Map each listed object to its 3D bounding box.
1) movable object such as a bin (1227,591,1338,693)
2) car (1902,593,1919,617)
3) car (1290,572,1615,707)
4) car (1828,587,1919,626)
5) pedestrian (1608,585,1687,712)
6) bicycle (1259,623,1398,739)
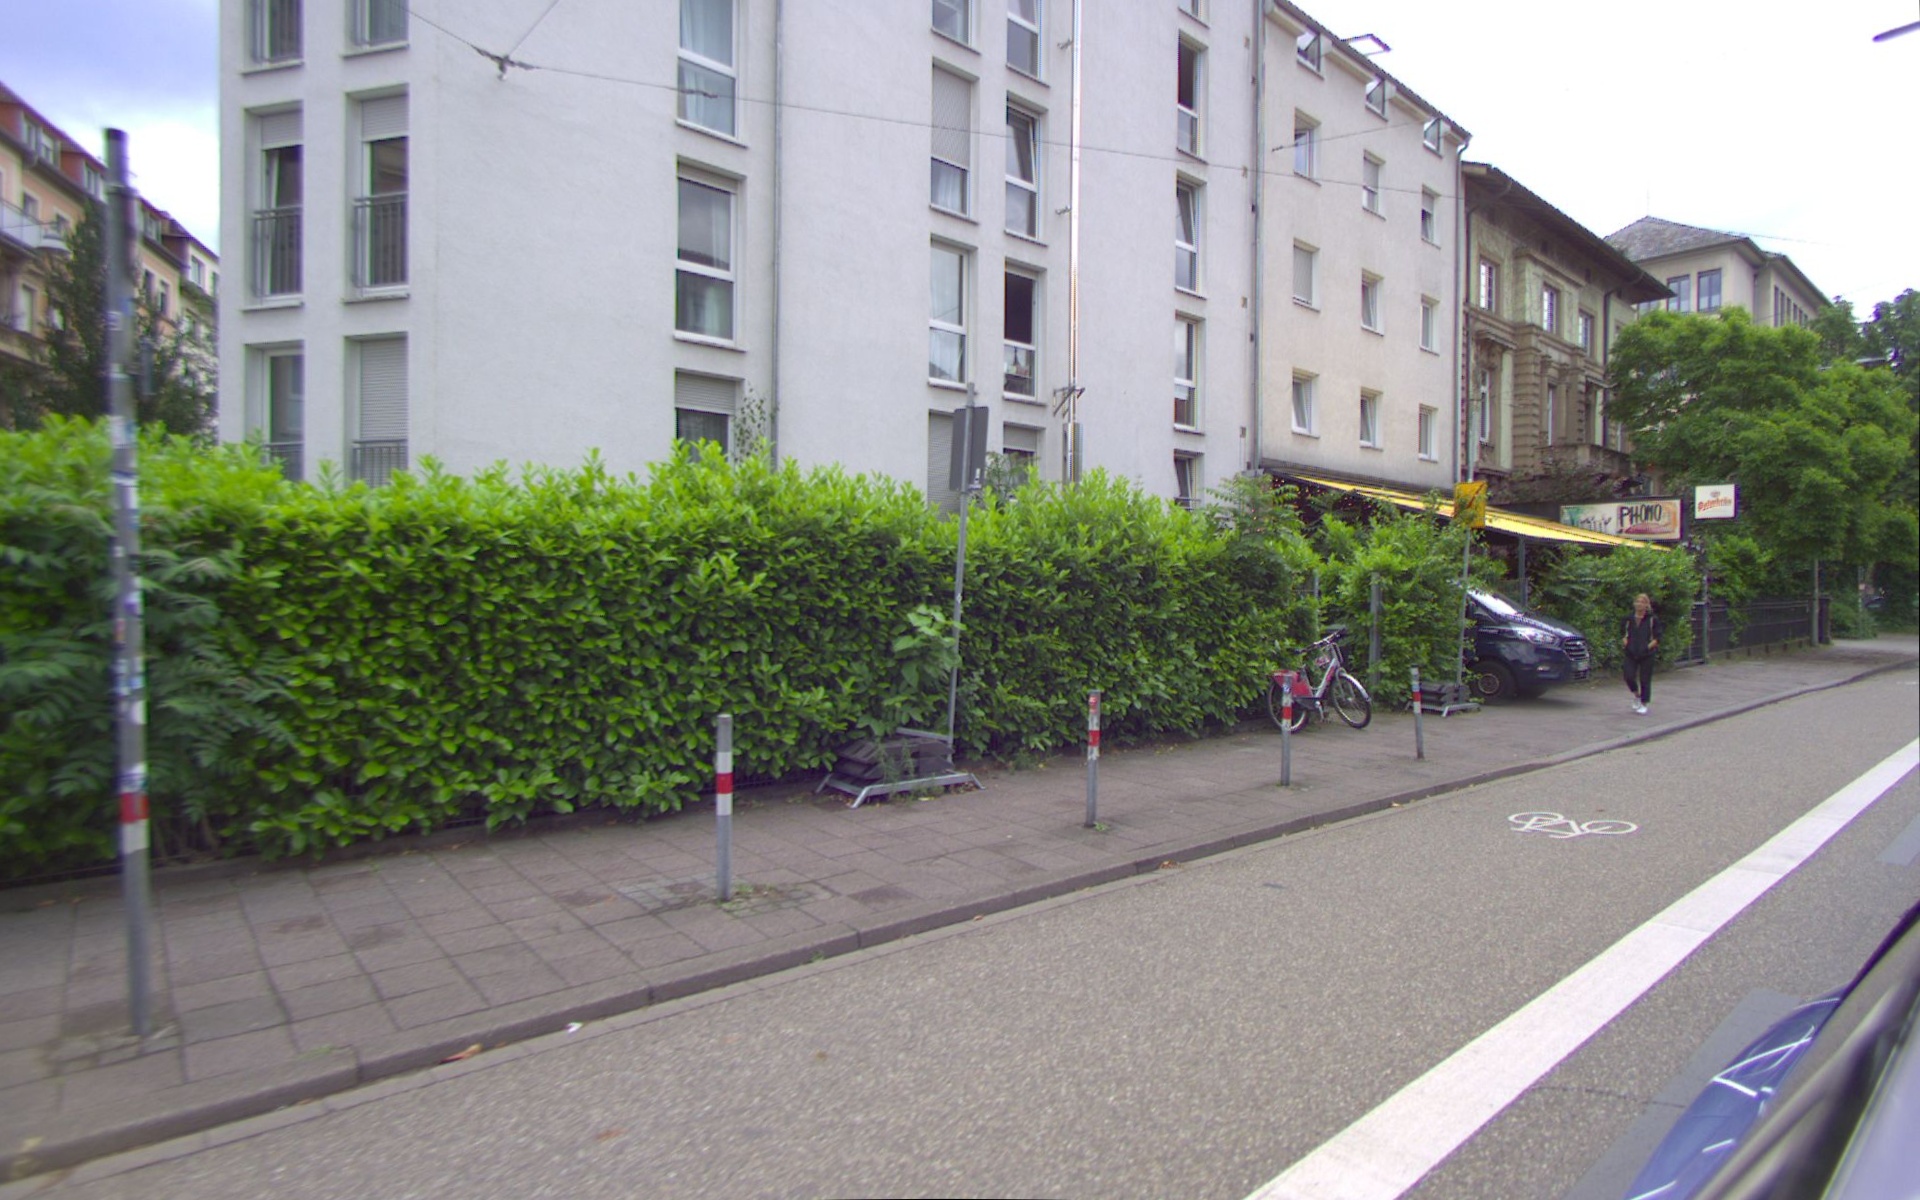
[{"bbox_3d":[4.783,0.579,15.052,1.001,1.436,1.229,0,0,-38],"label":"movable object such as a bin"},{"bbox_3d":[64.649,0.339,66.058,4.285,1.571,1.733,1,0,28],"label":"car"},{"bbox_3d":[7.654,0.494,16.110,1.790,1.831,4.292,0,1,-38],"label":"car"},{"bbox_3d":[46.044,0.324,50.397,3.791,1.843,1.796,1,0,19],"label":"car"},{"bbox_3d":[9.690,0.653,14.266,0.943,1.691,0.624,0,3,-41],"label":"pedestrian"},{"bbox_3d":[4.120,0.853,11.243,1.780,1.142,0.634,1,2,-41],"label":"bicycle"}]
